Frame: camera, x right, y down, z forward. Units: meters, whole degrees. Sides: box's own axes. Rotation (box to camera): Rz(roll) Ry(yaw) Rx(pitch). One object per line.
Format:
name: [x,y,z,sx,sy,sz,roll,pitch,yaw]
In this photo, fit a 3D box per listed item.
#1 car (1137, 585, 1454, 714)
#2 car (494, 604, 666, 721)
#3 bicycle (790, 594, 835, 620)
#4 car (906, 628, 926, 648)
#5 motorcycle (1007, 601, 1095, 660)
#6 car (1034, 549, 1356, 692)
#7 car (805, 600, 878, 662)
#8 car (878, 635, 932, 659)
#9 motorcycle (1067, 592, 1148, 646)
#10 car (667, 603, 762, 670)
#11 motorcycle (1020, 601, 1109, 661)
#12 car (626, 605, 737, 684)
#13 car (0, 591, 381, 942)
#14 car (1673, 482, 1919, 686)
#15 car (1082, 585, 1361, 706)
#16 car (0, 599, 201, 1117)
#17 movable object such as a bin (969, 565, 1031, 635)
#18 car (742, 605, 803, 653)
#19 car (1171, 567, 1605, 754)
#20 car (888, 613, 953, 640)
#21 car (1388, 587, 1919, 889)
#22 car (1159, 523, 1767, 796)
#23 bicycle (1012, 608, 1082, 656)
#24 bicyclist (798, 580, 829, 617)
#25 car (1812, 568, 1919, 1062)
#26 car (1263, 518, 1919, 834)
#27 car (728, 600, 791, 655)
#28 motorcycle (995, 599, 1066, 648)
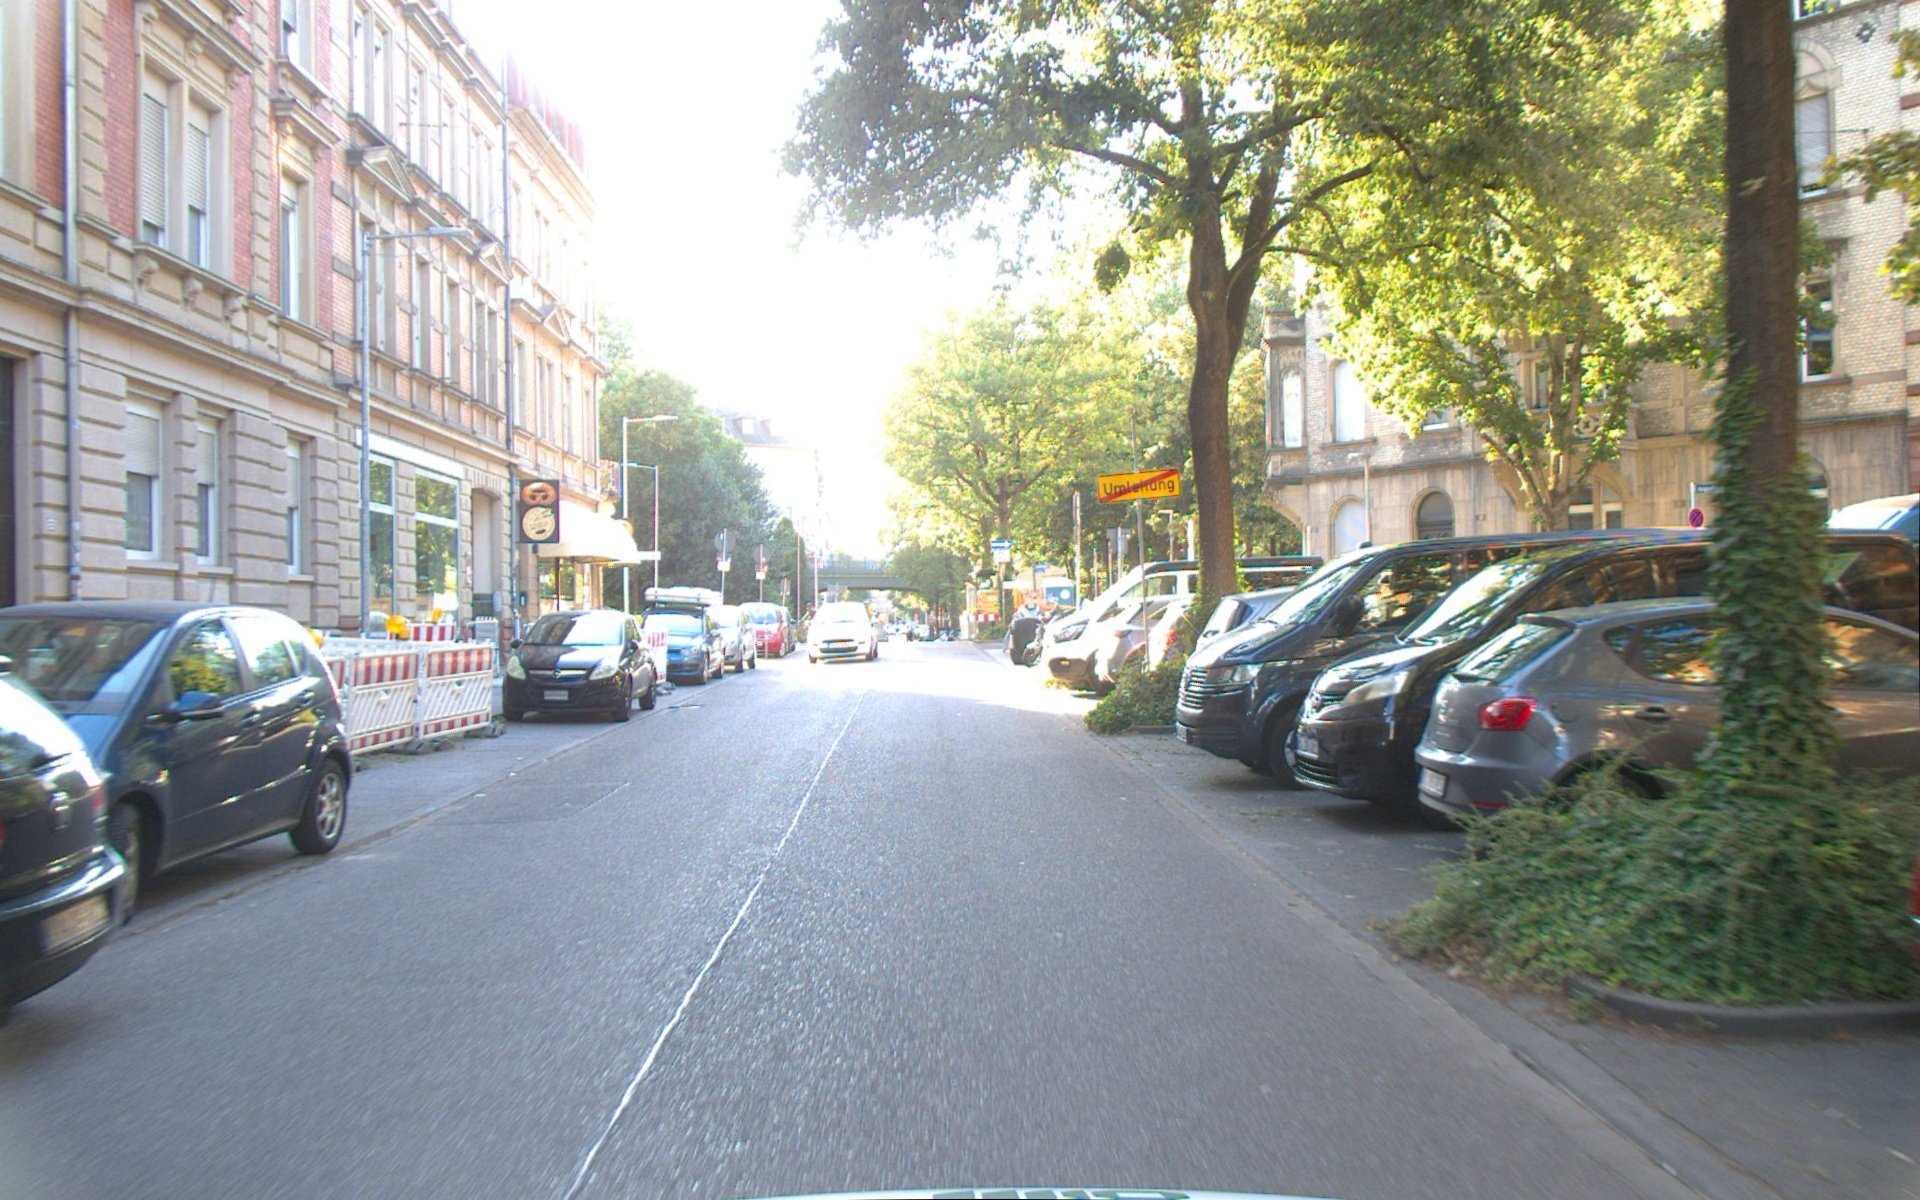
car: [4.333,0.623,21.780,3.763,1.542,1.847,-1,0,-2]
car: [-5.315,0.820,23.606,1.669,1.479,4.018,-1,0,-3]
bicycle: [-5.704,0.285,63.913,0.797,0.985,2.081,0,0,-37]
car: [-4.028,3.480,151.772,1.739,1.637,4.400,-1,0,-2]
motorcycle: [2.205,0.738,40.300,1.983,1.307,0.903,-3,0,-3]
car: [3.730,0.319,26.896,4.873,2.132,2.105,-1,0,-2]
car: [-3.074,0.782,43.633,1.714,1.535,3.999,-1,0,-2]
car: [-4.450,3.819,133.754,4.301,1.816,1.915,1,-4,-4]
motorcycle: [4.323,0.550,48.389,2.240,1.558,0.754,-1,-1,-8]
car: [-5.730,0.829,38.988,1.690,1.462,3.995,1,0,-1]
motorcycle: [2.427,0.711,38.399,1.975,1.350,0.620,-1,0,-6]
car: [-5.607,0.854,33.772,1.729,1.462,4.298,-1,0,-3]
car: [-4.847,0.772,9.496,1.706,1.594,3.894,-1,0,-1]
car: [13.106,-0.239,22.589,5.783,2.582,2.376,-1,0,-8]
car: [3.747,0.638,24.138,3.763,1.623,1.740,-1,0,-2]
car: [-4.945,0.828,5.583,3.912,1.556,1.823,-2,0,-8]
movable object such as a bin: [1.648,0.018,67.188,1.951,2.747,3.113,-1,-1,11]
car: [-6.065,0.907,53.765,1.636,1.483,3.998,-1,0,-2]
car: [4.270,0.577,16.888,3.908,1.722,1.799,-1,0,-3]
car: [-2.676,1.795,110.885,4.301,1.732,1.915,1,-4,-4]
car: [4.572,0.684,9.237,3.904,1.473,1.891,-1,0,3]
car: [4.136,0.454,14.099,4.524,2.049,1.998,-1,0,-4]
bicycle: [2.374,0.869,45.104,1.888,1.268,0.302,-1,0,-8]
bicyclist: [-5.669,-0.057,63.876,0.797,1.407,0.972,1,-1,-37]
car: [4.948,0.610,4.793,3.998,1.524,1.843,-2,0,-1]
car: [4.435,0.464,11.555,4.185,1.918,1.937,-1,0,-5]
car: [-5.930,0.789,49.316,1.636,1.557,3.997,0,0,-4]
motorcycle: [2.085,0.690,48.949,1.894,1.437,0.940,-1,-1,26]
